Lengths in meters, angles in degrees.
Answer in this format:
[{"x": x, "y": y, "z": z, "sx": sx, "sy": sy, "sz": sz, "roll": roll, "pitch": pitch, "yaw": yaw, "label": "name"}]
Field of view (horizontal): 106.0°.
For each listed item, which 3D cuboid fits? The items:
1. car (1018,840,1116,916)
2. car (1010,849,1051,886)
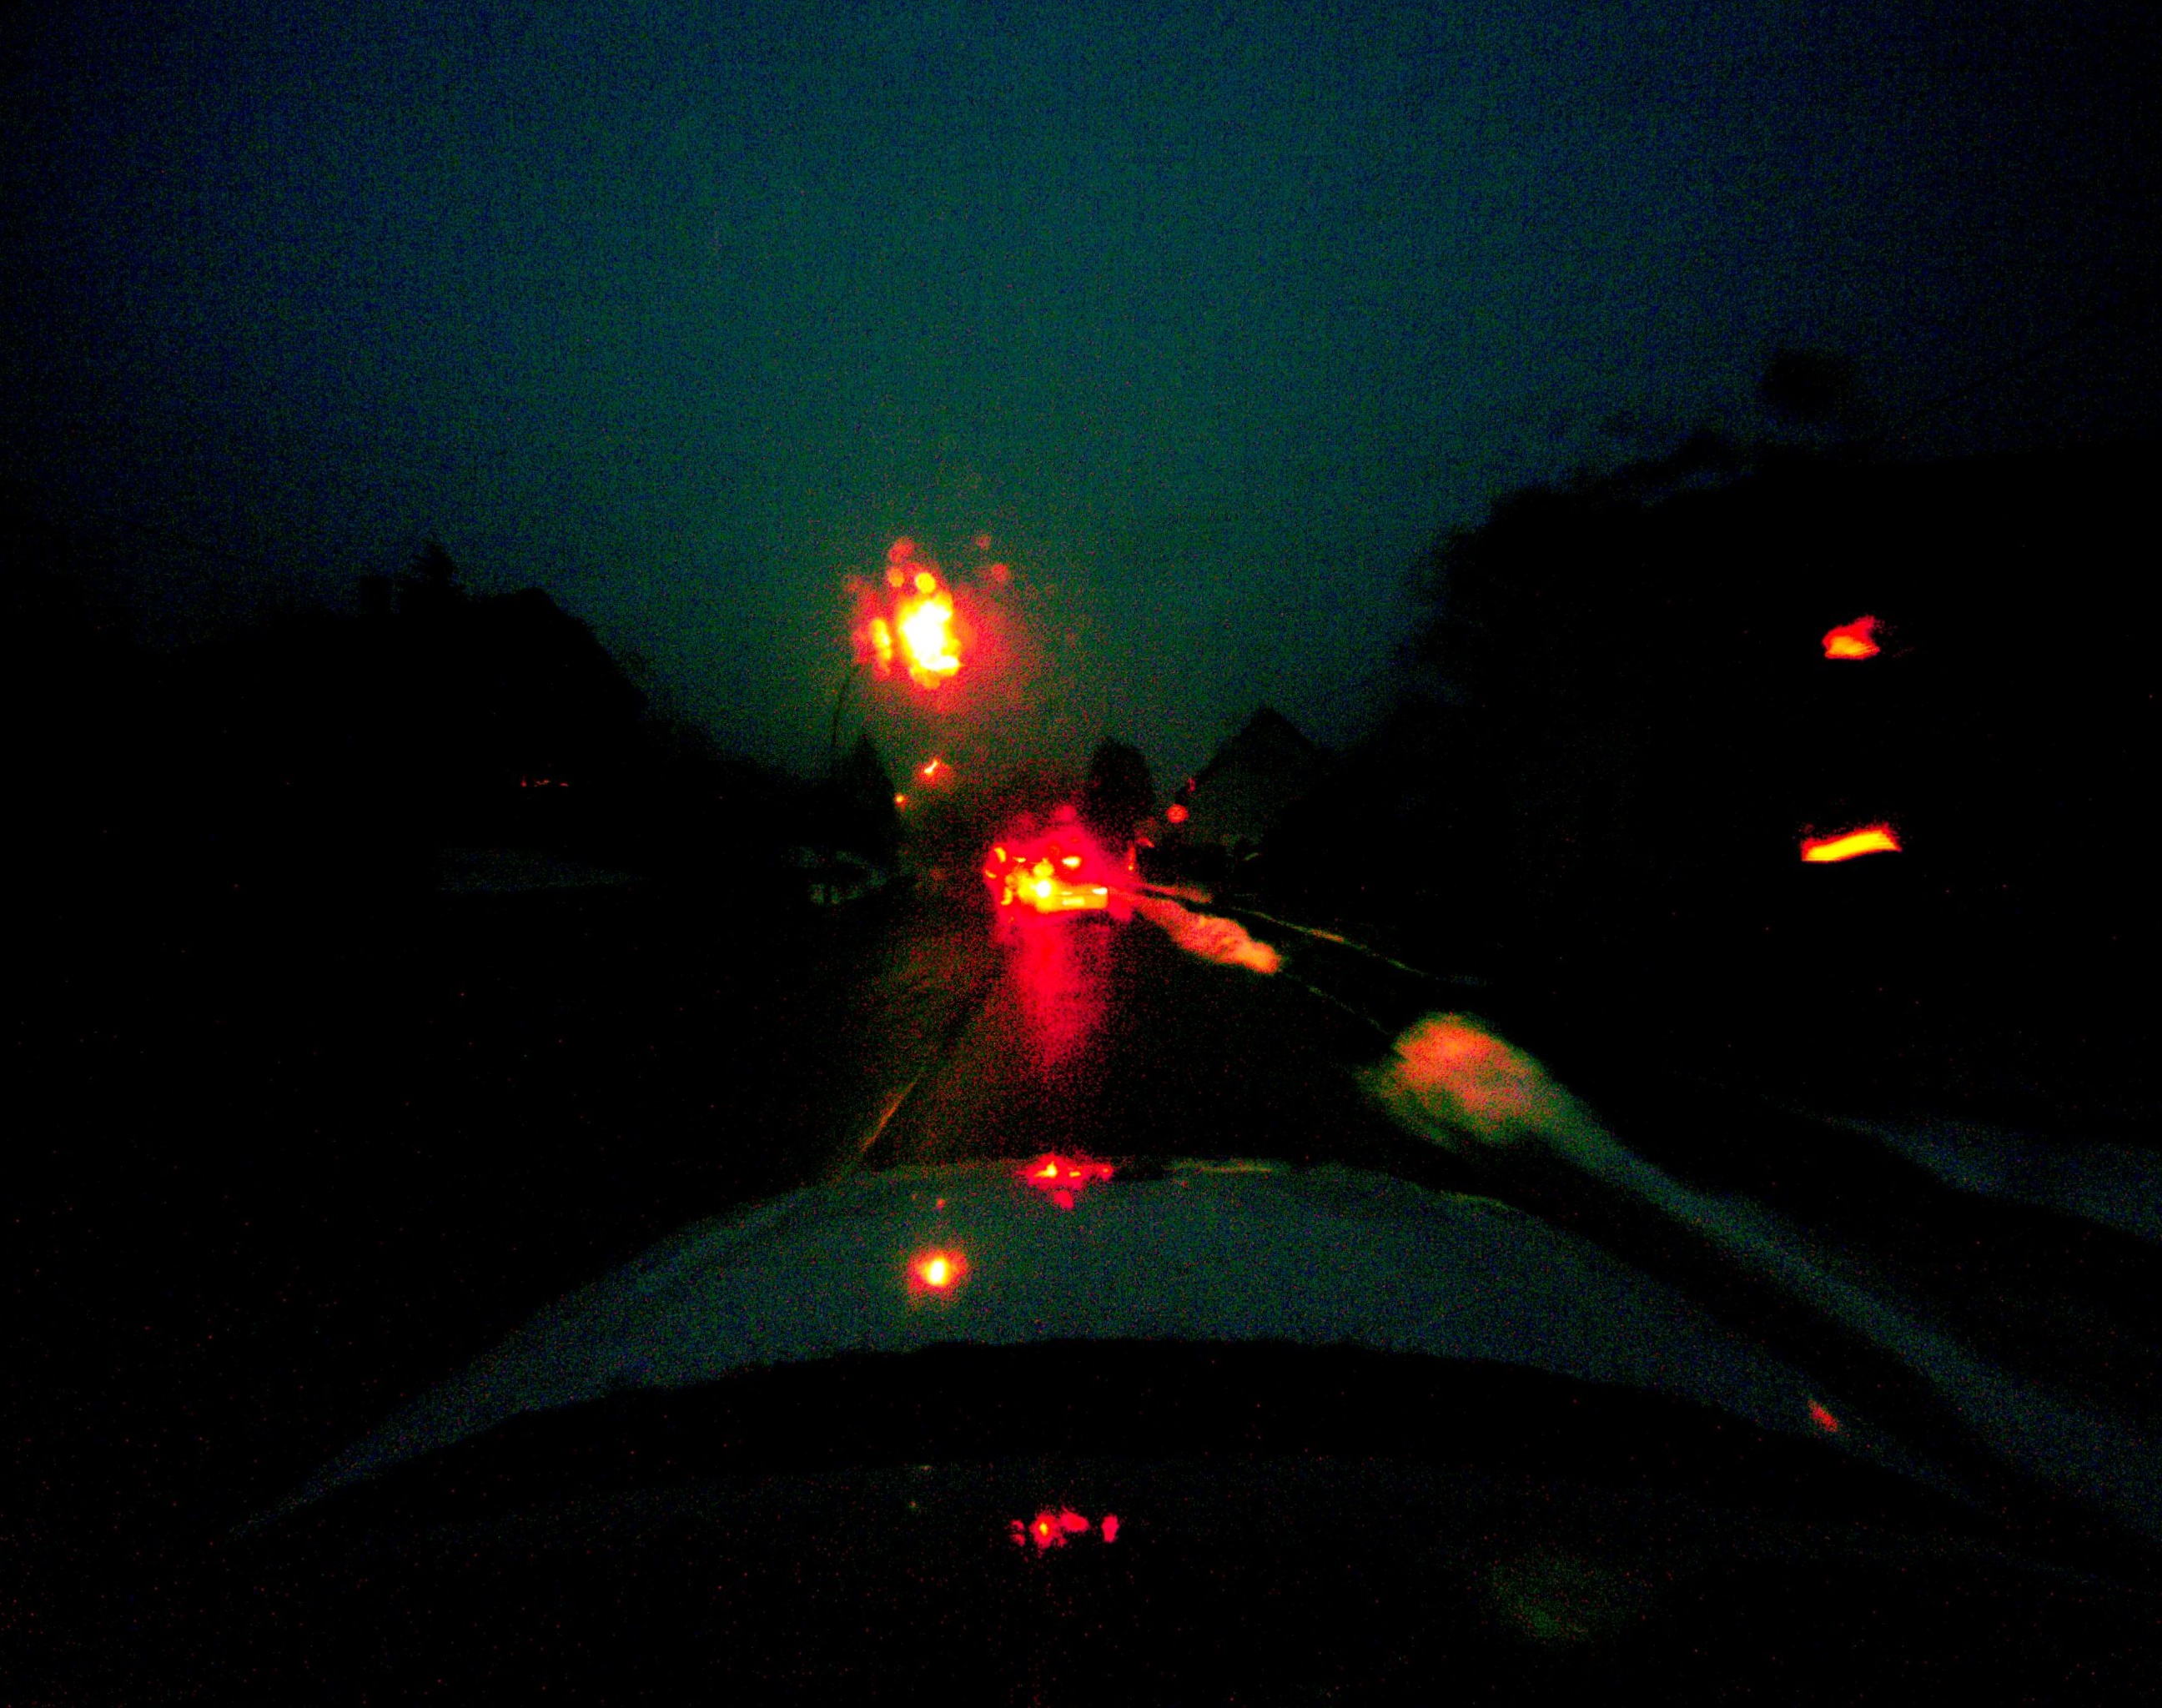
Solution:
[{"x": -0.456, "y": 0.569, "z": 19.687, "sx": 1.896, "sy": 1.609, "sz": 3.989, "roll": -1, "pitch": -1, "yaw": -8, "label": "car"}, {"x": -2.597, "y": 0.678, "z": 41.323, "sx": 1.990, "sy": 1.737, "sz": 3.871, "roll": -1, "pitch": -1, "yaw": -5, "label": "car"}]
